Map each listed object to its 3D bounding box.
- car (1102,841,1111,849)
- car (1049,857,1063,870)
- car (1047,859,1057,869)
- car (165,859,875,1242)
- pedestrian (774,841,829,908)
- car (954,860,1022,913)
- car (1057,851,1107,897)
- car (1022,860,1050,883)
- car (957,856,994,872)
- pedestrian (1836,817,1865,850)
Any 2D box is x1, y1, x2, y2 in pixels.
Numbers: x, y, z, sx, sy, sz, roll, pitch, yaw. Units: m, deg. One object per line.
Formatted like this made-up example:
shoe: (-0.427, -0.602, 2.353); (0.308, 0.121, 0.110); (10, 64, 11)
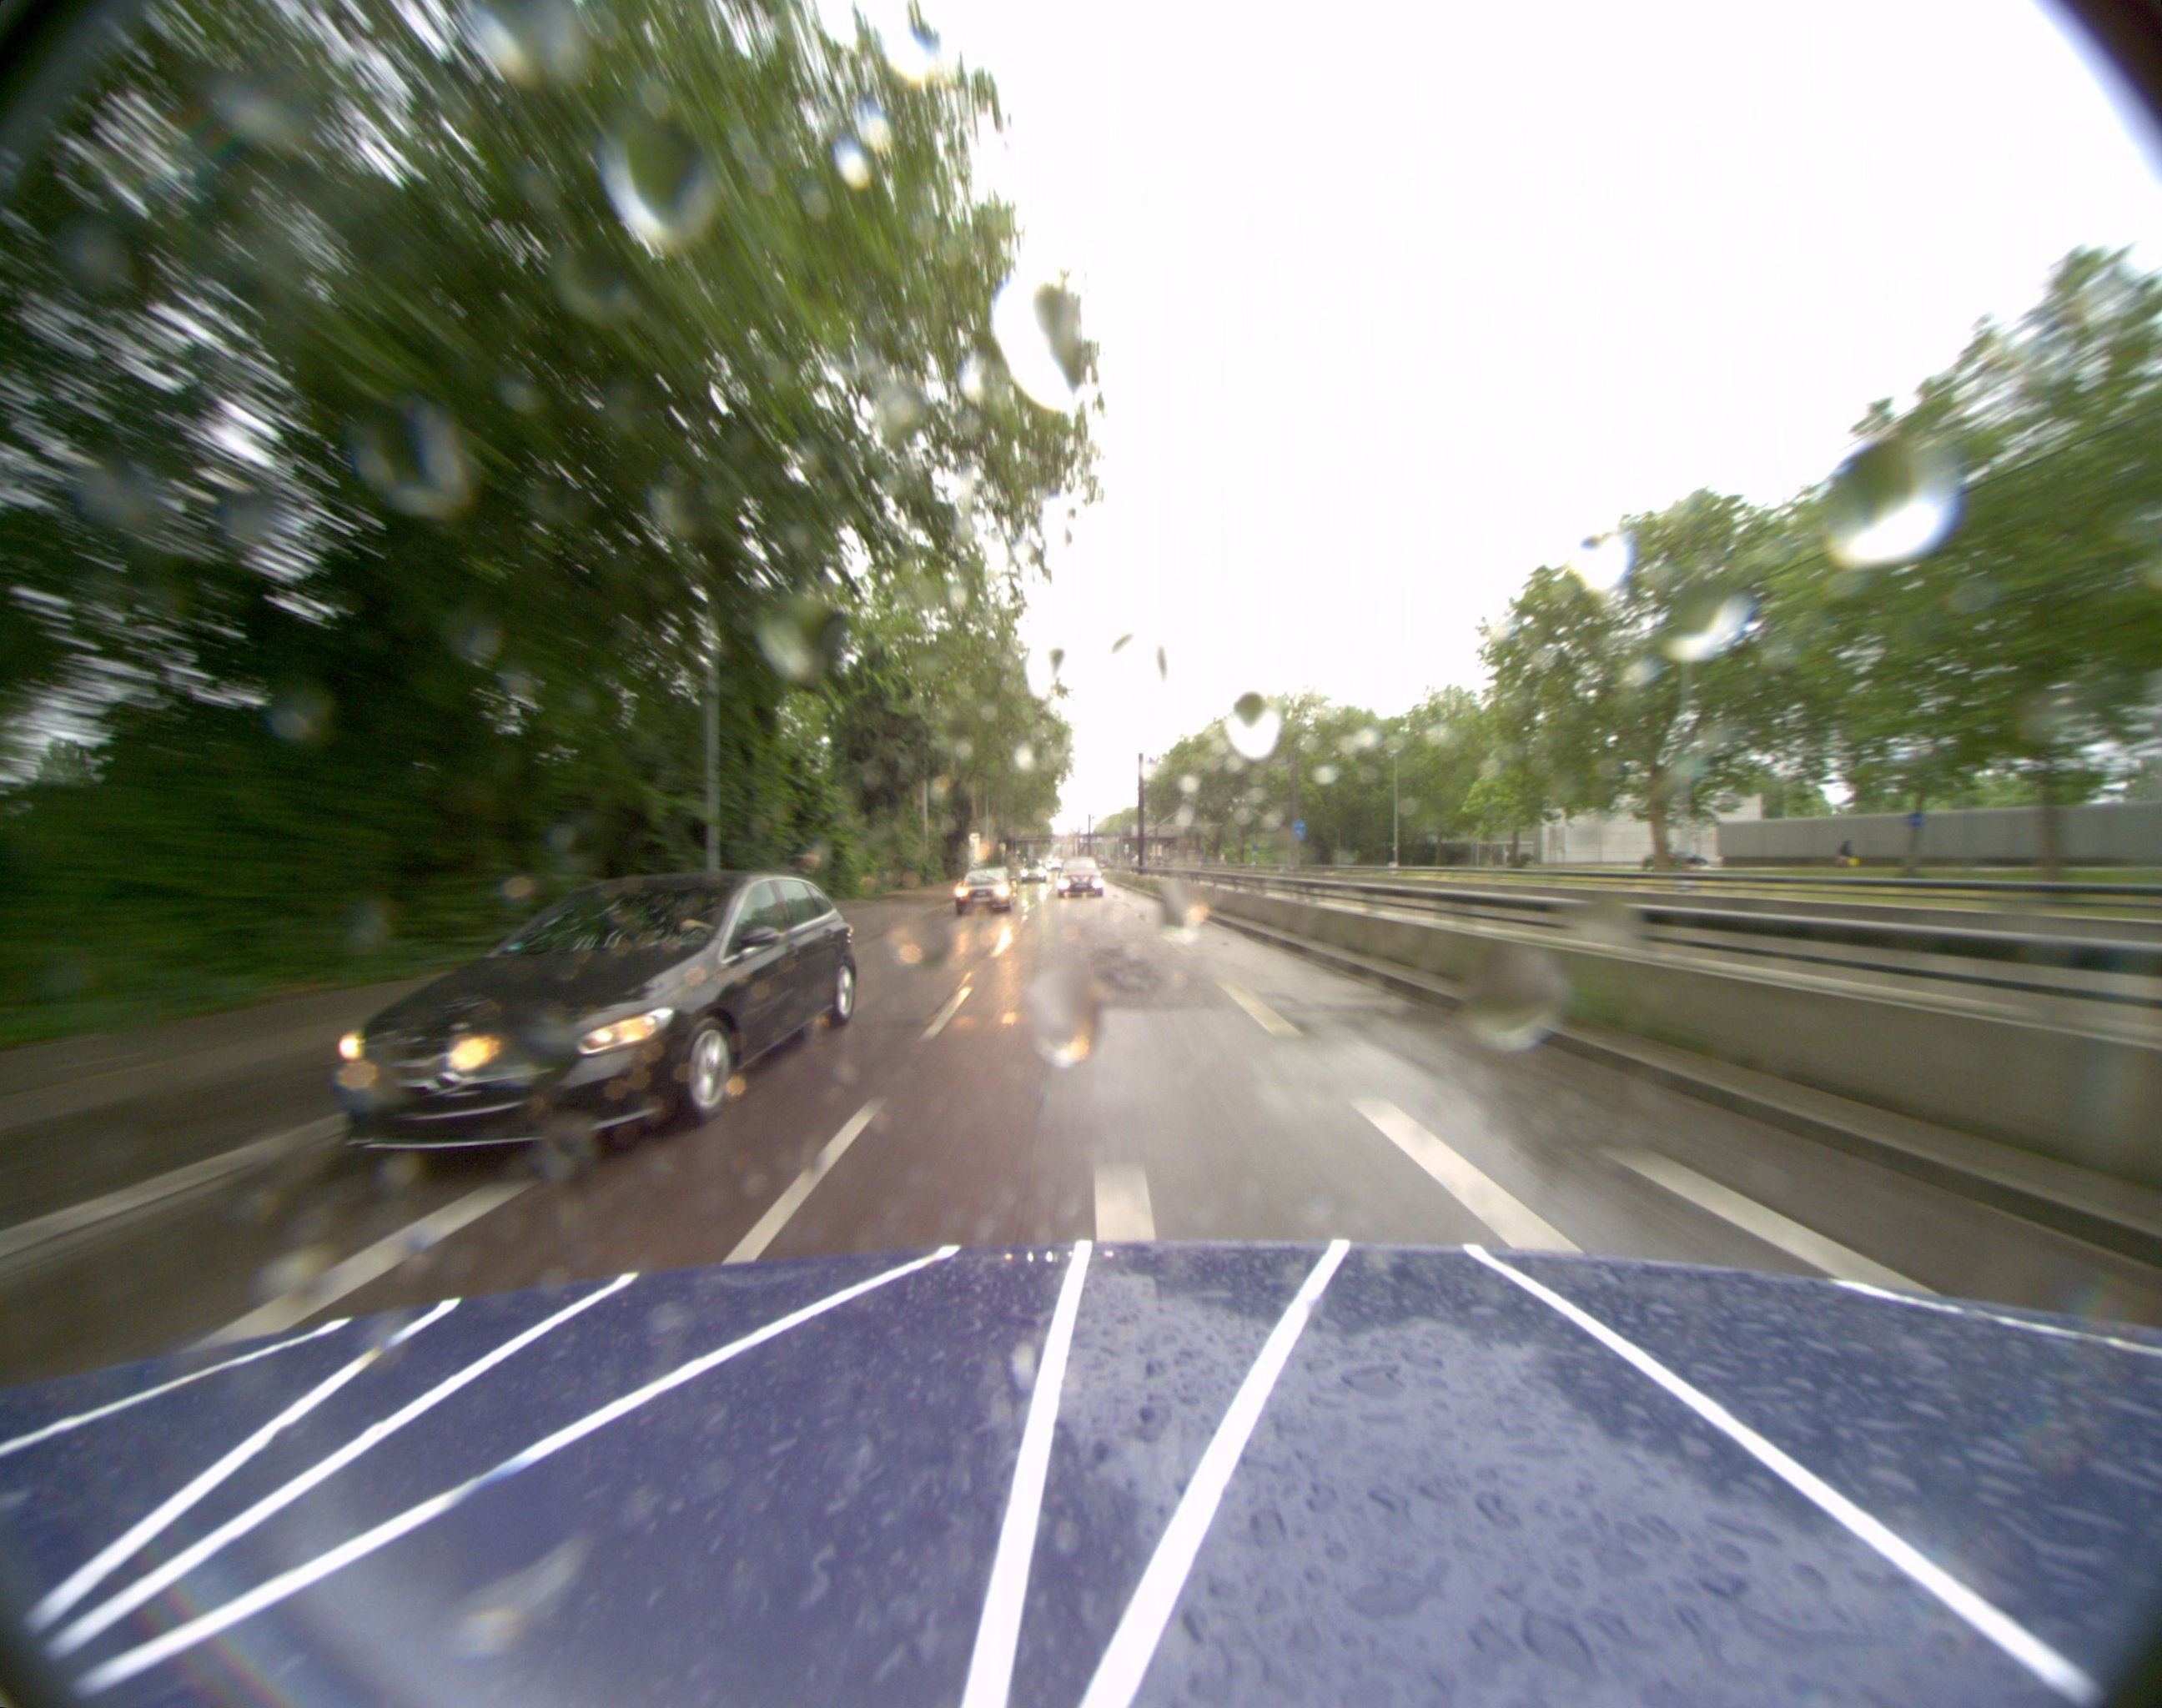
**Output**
car: (6.933, -2.322, 203.590); (1.999, 2.002, 4.508); (-3, 1, -2)
car: (-3.451, 1.361, 105.056); (1.870, 1.689, 4.424); (-1, 0, -3)
car: (-5.460, 1.835, 142.654); (1.870, 1.689, 4.157); (-1, 0, -3)
car: (-3.093, 0.898, 5.598); (1.821, 1.521, 4.421); (-3, 1, 1)
pedestrian: (-7.466, 0.526, 20.361); (0.969, 1.693, 1.140); (-3, 2, -1)
car: (-2.907, 0.989, 24.451); (1.641, 1.377, 3.781); (-2, 1, 0)
car: (0.047, 0.805, 33.170); (1.975, 1.794, 4.158); (-2, 0, 0)
car: (-3.223, 1.210, 54.962); (1.821, 1.521, 4.157); (-1, 0, -2)
car: (-9.975, 0.928, 71.525); (1.611, 1.423, 3.546); (-4, 2, -43)
pedestrian: (47.745, -1.276, 47.147); (1.004, 2.002, 0.790); (-3, 2, -1)
